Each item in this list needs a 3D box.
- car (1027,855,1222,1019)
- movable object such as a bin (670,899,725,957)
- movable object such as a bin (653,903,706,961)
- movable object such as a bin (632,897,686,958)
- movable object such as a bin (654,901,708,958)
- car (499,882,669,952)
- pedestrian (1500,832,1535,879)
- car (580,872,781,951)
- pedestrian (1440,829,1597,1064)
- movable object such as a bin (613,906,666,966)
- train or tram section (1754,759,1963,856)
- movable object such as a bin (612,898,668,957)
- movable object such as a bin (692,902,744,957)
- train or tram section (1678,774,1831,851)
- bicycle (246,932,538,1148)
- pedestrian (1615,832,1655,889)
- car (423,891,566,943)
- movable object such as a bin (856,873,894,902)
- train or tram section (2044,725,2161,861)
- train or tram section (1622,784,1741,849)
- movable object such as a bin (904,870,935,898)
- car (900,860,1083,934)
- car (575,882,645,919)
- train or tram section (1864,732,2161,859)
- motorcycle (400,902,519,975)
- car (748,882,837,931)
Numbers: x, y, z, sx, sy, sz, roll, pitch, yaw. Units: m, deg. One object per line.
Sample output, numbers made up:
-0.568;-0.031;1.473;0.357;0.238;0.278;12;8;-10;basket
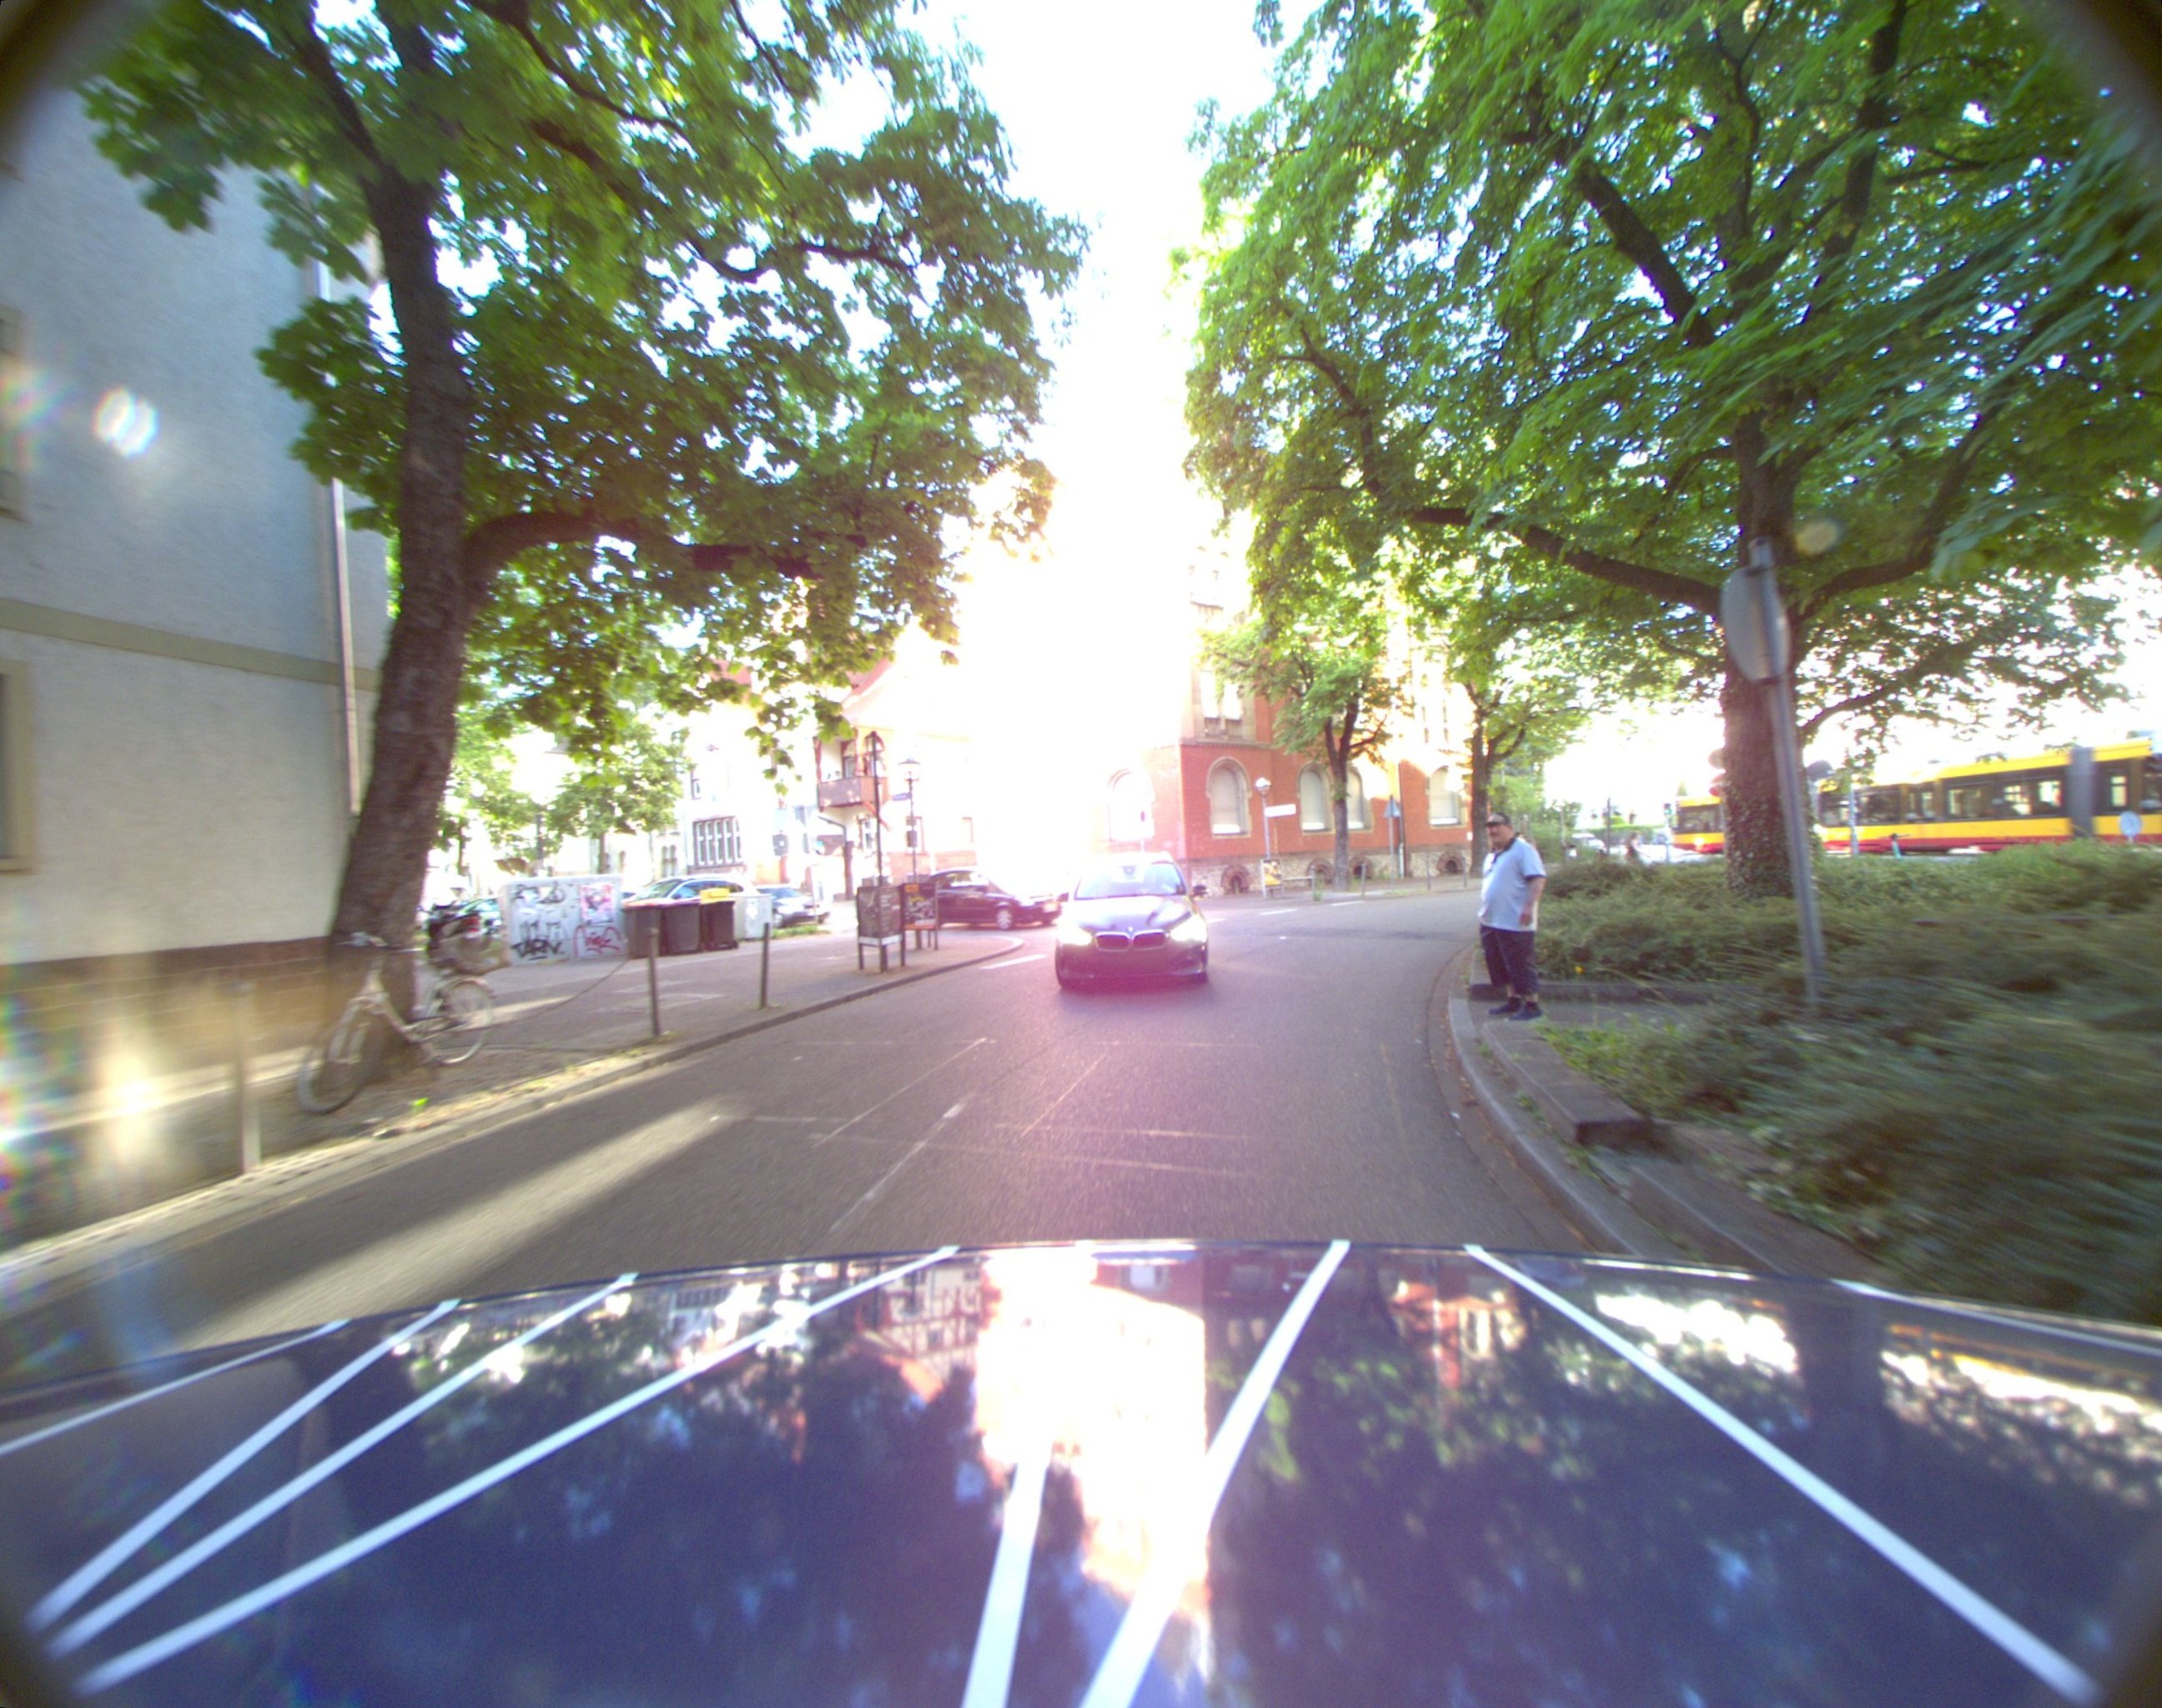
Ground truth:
0.699;0.872;10.094;1.923;1.597;4.519;-3;0;7;car
-8.144;1.552;16.128;0.700;1.146;0.741;-3;0;37;movable object such as a bin
-7.951;1.529;15.058;0.703;1.069;0.632;-3;0;37;movable object such as a bin
-8.574;1.490;15.450;0.700;1.146;0.635;-4;1;37;movable object such as a bin
-8.735;1.635;16.597;0.714;1.146;0.741;-3;0;37;movable object such as a bin
-14.337;1.763;22.081;1.699;1.641;3.712;-3;0;39;car
15.689;0.058;27.336;0.859;1.633;0.871;-3;0;18;pedestrian
-10.291;1.435;19.827;2.019;1.702;4.127;-4;-2;32;car
3.477;0.668;6.027;0.920;1.674;0.778;-3;0;-44;pedestrian
-8.487;1.571;14.618;0.672;1.077;0.594;-3;0;35;movable object such as a bin
33.372;-1.883;33.143;2.934;3.570;7.195;-4;0;14;train or tram section
-9.231;1.533;15.910;0.700;1.146;0.741;-3;0;37;movable object such as a bin
-7.521;1.547;15.752;0.693;1.058;0.660;-3;0;37;movable object such as a bin
35.162;-2.053;40.110;2.968;3.487;7.195;-4;0;14;train or tram section
-5.021;1.273;5.729;0.555;1.175;1.790;-3;0;-2;bicycle
15.785;0.187;21.666;0.852;1.595;0.603;-3;0;36;pedestrian
-20.461;2.173;26.621;1.673;1.496;3.608;-4;-2;37;car
-9.947;1.610;36.646;1.383;1.291;0.966;-4;1;-44;movable object such as a bin
29.732;-1.675;18.881;2.917;3.593;7.868;-3;0;14;train or tram section
36.926;-2.209;47.103;2.968;3.487;7.195;-4;0;14;train or tram section
-8.239;1.506;38.809;0.685;1.310;1.386;-3;1;29;movable object such as a bin
-2.352;1.132;19.601;4.251;1.584;2.003;-4;1;32;car
-27.118;2.696;43.708;4.313;1.896;1.807;-3;2;36;car
31.592;-1.760;26.183;2.929;3.578;7.196;-4;0;14;train or tram section
-12.246;1.644;14.969;2.177;1.272;0.980;-3;0;27;motorcycle
-9.855;1.721;25.759;1.798;1.387;4.245;-3;0;-34;car
